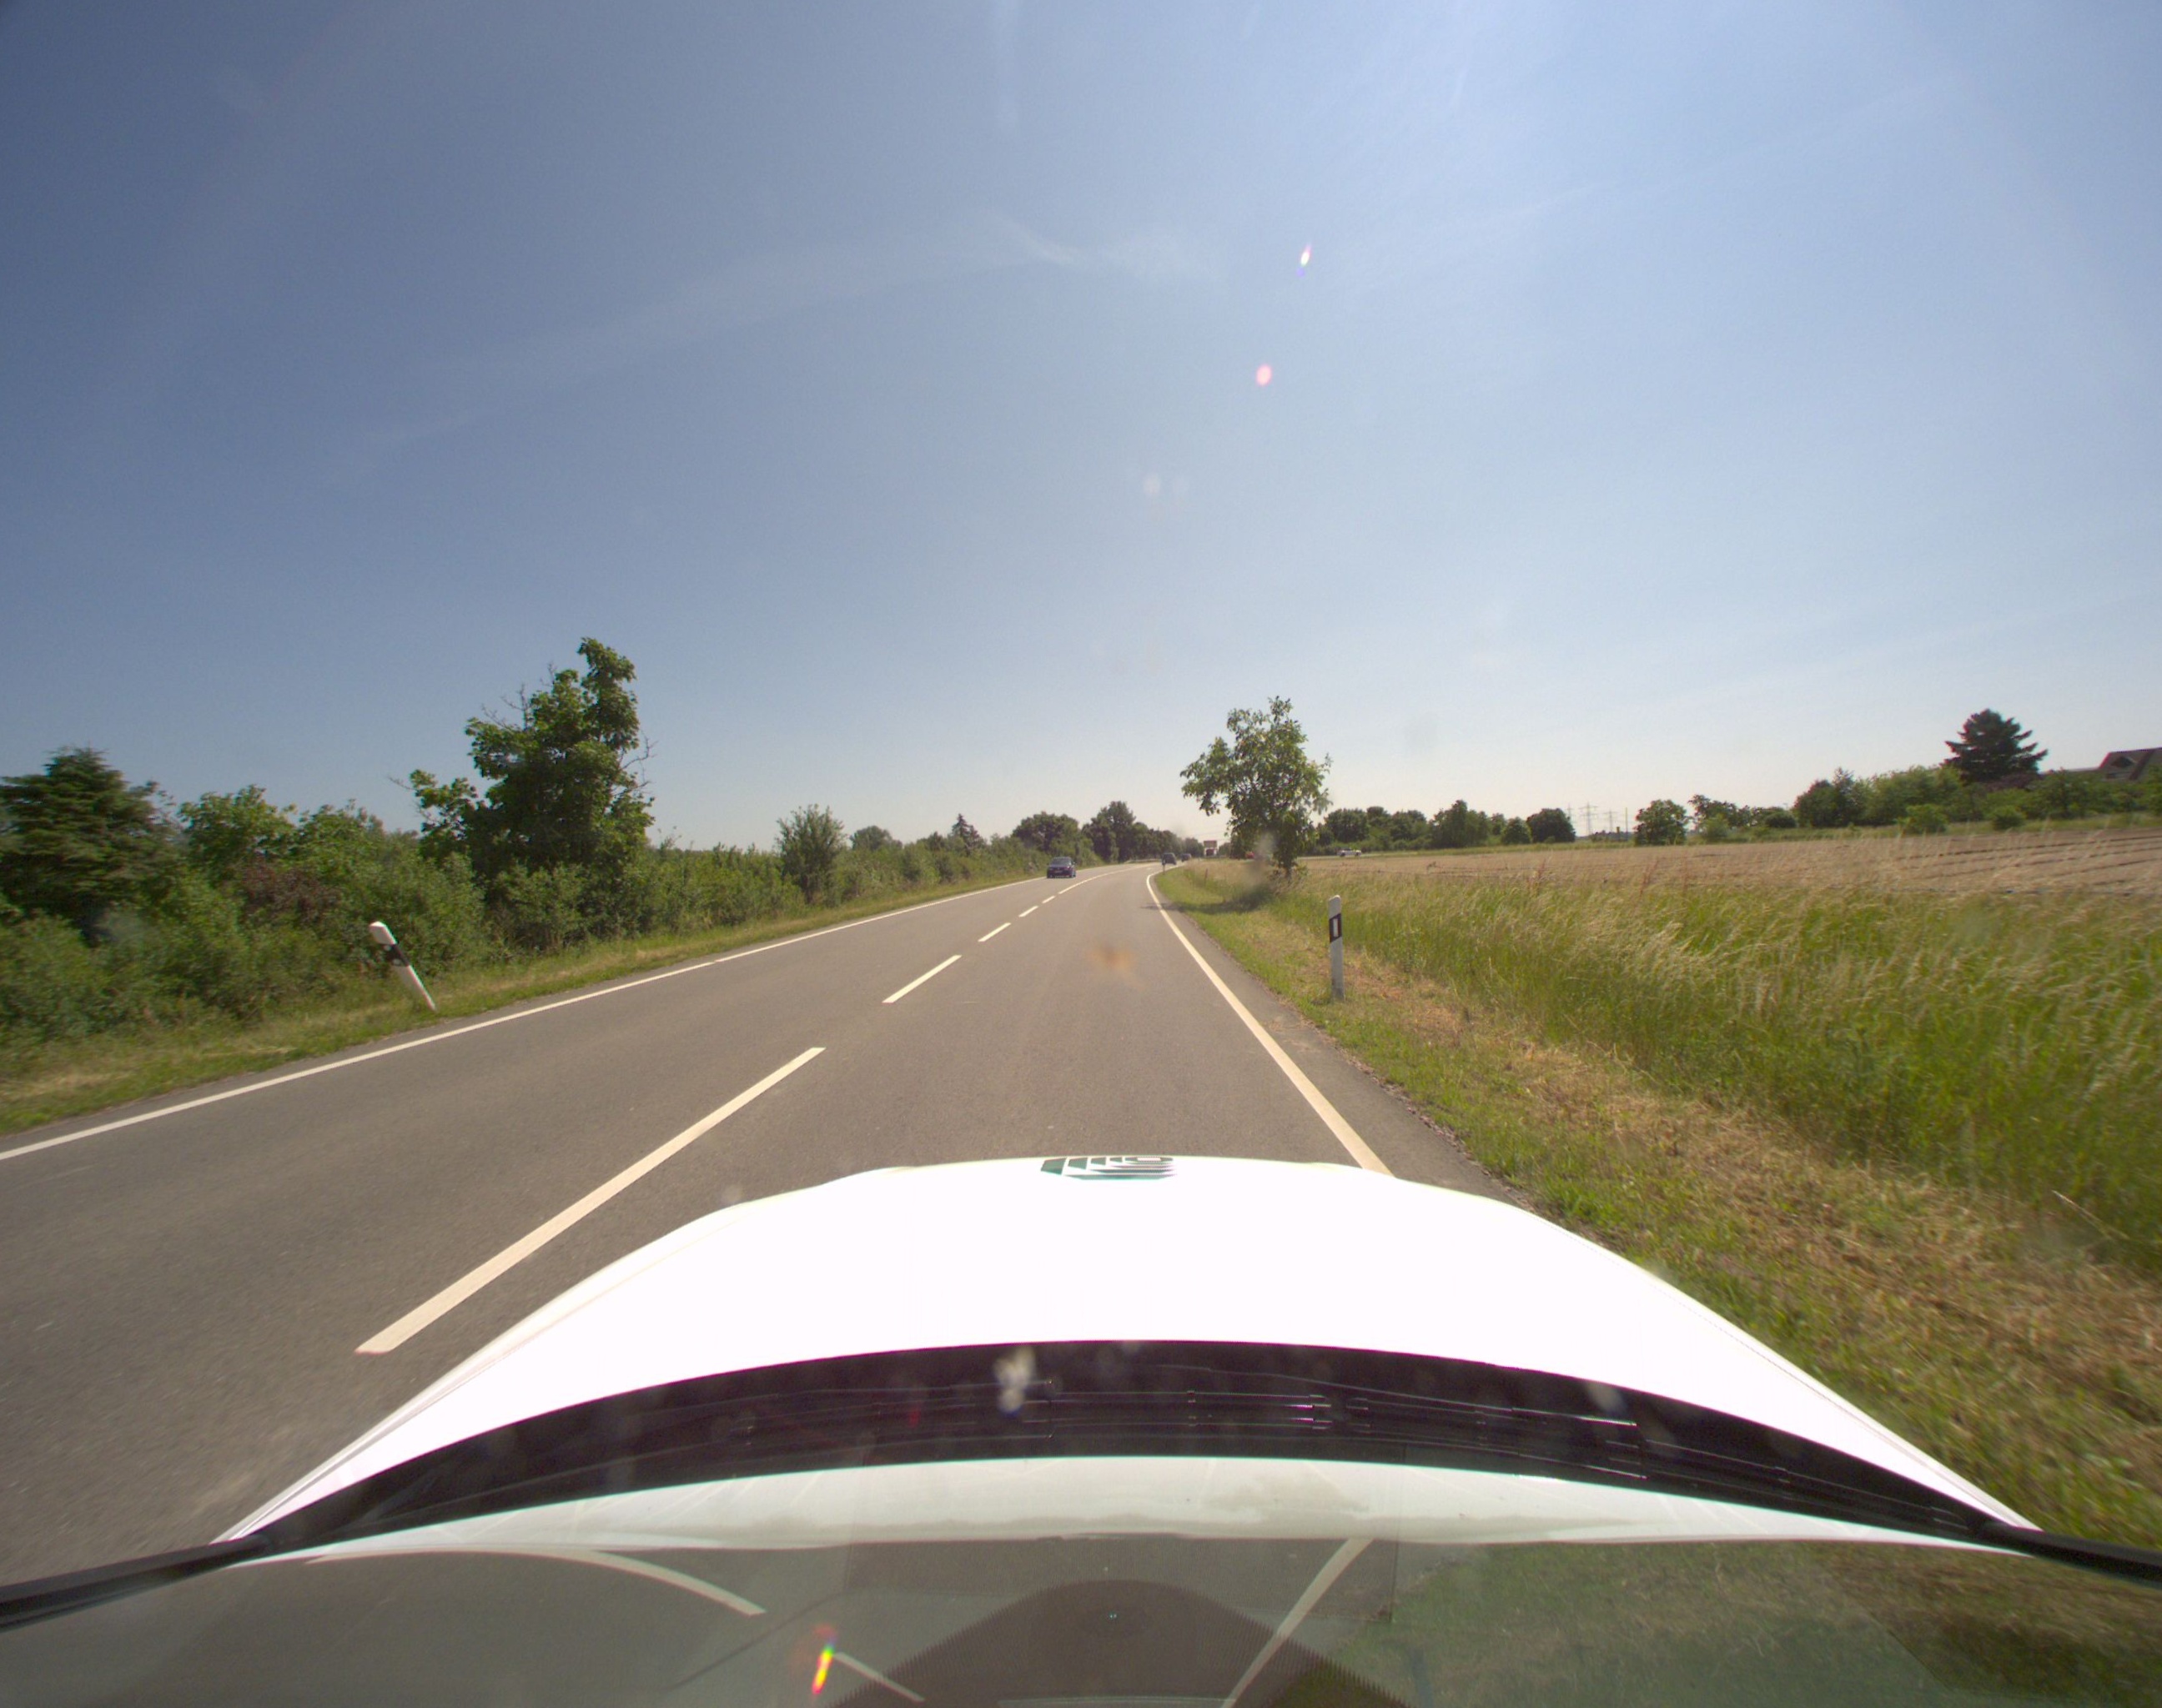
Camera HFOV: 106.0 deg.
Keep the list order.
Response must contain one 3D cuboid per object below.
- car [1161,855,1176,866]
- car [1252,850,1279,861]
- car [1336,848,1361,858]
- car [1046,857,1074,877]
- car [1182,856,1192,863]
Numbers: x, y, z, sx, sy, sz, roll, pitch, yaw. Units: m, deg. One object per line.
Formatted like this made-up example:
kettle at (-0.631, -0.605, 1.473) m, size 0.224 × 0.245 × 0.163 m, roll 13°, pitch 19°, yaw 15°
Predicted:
car at (12.599, 0.905, 116.798) m, size 1.873 × 1.518 × 4.050 m, roll -1°, pitch 0°, yaw 9°
car at (31.310, 0.273, 138.343) m, size 4.151 × 1.623 × 2.053 m, roll -2°, pitch -1°, yaw -26°
car at (46.165, -0.213, 140.731) m, size 3.957 × 1.623 × 1.651 m, roll -3°, pitch -1°, yaw 15°
car at (-1.400, 0.881, 56.361) m, size 1.686 × 1.362 × 3.828 m, roll -1°, pitch 0°, yaw 2°
car at (19.697, 1.077, 151.641) m, size 1.634 × 1.341 × 4.050 m, roll -1°, pitch 0°, yaw 9°
